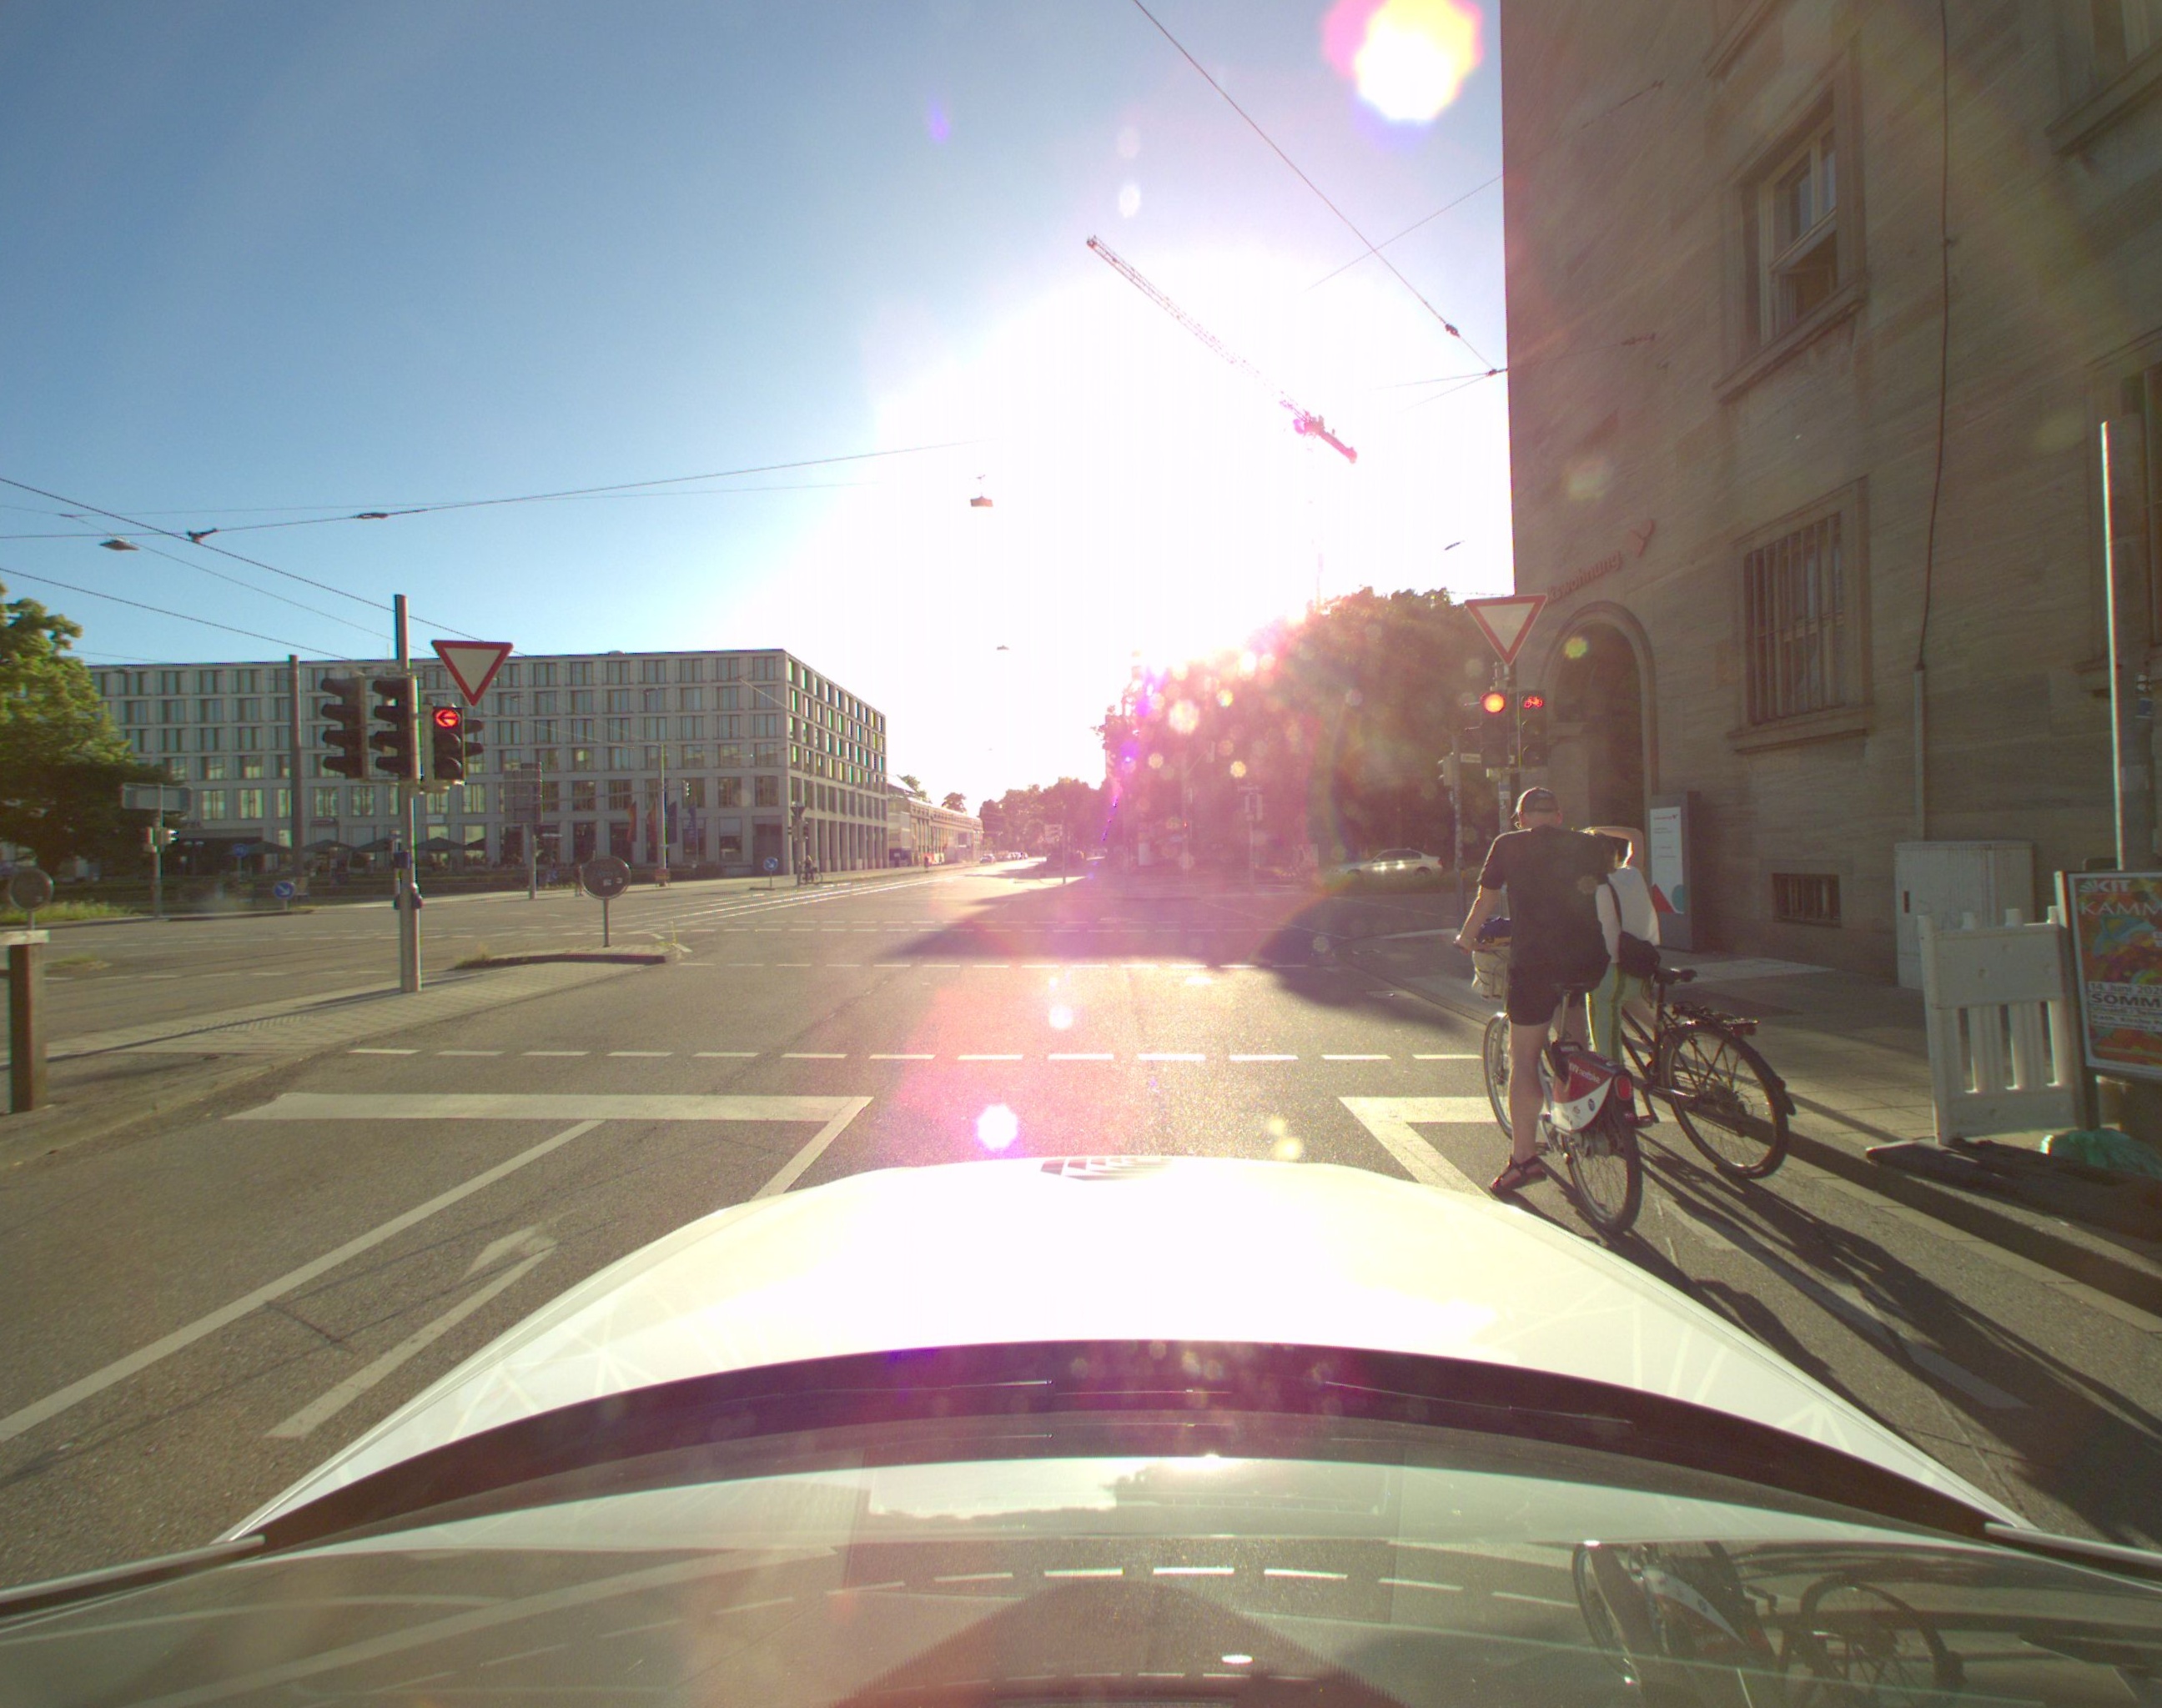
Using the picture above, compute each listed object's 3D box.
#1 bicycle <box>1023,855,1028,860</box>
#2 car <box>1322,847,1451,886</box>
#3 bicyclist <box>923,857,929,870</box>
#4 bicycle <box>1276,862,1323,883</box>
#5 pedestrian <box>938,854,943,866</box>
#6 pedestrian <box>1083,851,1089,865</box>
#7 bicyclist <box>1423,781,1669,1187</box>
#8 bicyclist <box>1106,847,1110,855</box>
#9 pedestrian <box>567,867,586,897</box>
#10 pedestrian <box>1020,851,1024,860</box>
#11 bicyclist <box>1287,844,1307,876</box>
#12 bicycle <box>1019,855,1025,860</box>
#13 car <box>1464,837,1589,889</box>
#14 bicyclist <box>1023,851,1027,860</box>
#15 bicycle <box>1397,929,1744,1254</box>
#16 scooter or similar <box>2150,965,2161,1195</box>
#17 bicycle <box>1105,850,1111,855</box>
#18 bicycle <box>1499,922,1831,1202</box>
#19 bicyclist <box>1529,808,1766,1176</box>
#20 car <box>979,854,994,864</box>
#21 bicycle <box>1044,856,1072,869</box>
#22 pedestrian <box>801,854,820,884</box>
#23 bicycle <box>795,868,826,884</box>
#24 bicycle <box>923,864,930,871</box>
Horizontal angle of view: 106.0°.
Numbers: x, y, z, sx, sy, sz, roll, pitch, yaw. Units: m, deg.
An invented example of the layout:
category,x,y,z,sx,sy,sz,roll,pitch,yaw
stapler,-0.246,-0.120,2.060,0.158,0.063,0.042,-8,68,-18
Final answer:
category,x,y,z,sx,sy,sz,roll,pitch,yaw
bicycle,-12.048,0.753,175.787,0.748,1.205,3.108,0,-1,1
car,12.438,0.506,33.398,4.559,1.516,2.001,0,-1,1
bicyclist,-17.933,1.120,94.396,0.492,1.498,0.667,-2,0,4
bicycle,9.715,0.832,36.268,1.932,0.889,0.719,-1,-1,8
pedestrian,-22.286,1.007,129.265,0.583,1.889,0.480,-1,-1,16
pedestrian,0.567,0.438,97.708,0.576,1.689,0.584,-2,0,-6
bicyclist,2.177,0.553,3.932,0.621,1.715,0.913,-2,0,0
bicyclist,6.615,-0.699,200.540,0.891,2.014,0.746,0,-1,-10
pedestrian,-28.238,1.569,45.559,0.600,1.681,0.608,-2,0,9
pedestrian,-12.303,0.323,170.408,0.746,2.063,1.052,0,-1,7
bicyclist,9.622,0.268,36.280,0.742,1.406,0.704,-1,-1,8
bicycle,-12.323,0.748,170.340,0.746,1.205,3.114,0,-1,7
car,17.884,0.353,32.840,3.970,2.014,2.002,0,-1,3
bicyclist,-12.072,0.378,175.672,0.748,1.920,1.214,0,-1,1
bicycle,2.184,0.973,3.942,0.621,1.044,1.747,-2,0,1
scooter or similar,3.359,0.872,1.684,0.571,1.150,1.271,0,-2,-2
bicycle,6.611,-0.284,200.517,0.890,1.219,2.784,0,-1,-9
bicycle,2.965,0.972,4.388,0.579,1.044,1.748,-2,0,3
bicyclist,2.955,0.657,4.354,0.581,1.738,0.951,-2,0,2
car,-15.804,0.779,136.549,1.988,1.599,3.999,-2,0,-1
bicycle,-1.896,0.697,67.426,2.240,0.940,0.653,-2,0,-4
pedestrian,-14.706,0.797,44.225,0.735,1.595,0.577,-2,0,29
bicycle,-14.705,1.187,44.226,1.696,0.823,0.577,-2,0,29
bicycle,-17.917,1.572,94.400,0.492,0.839,1.158,-2,0,4
